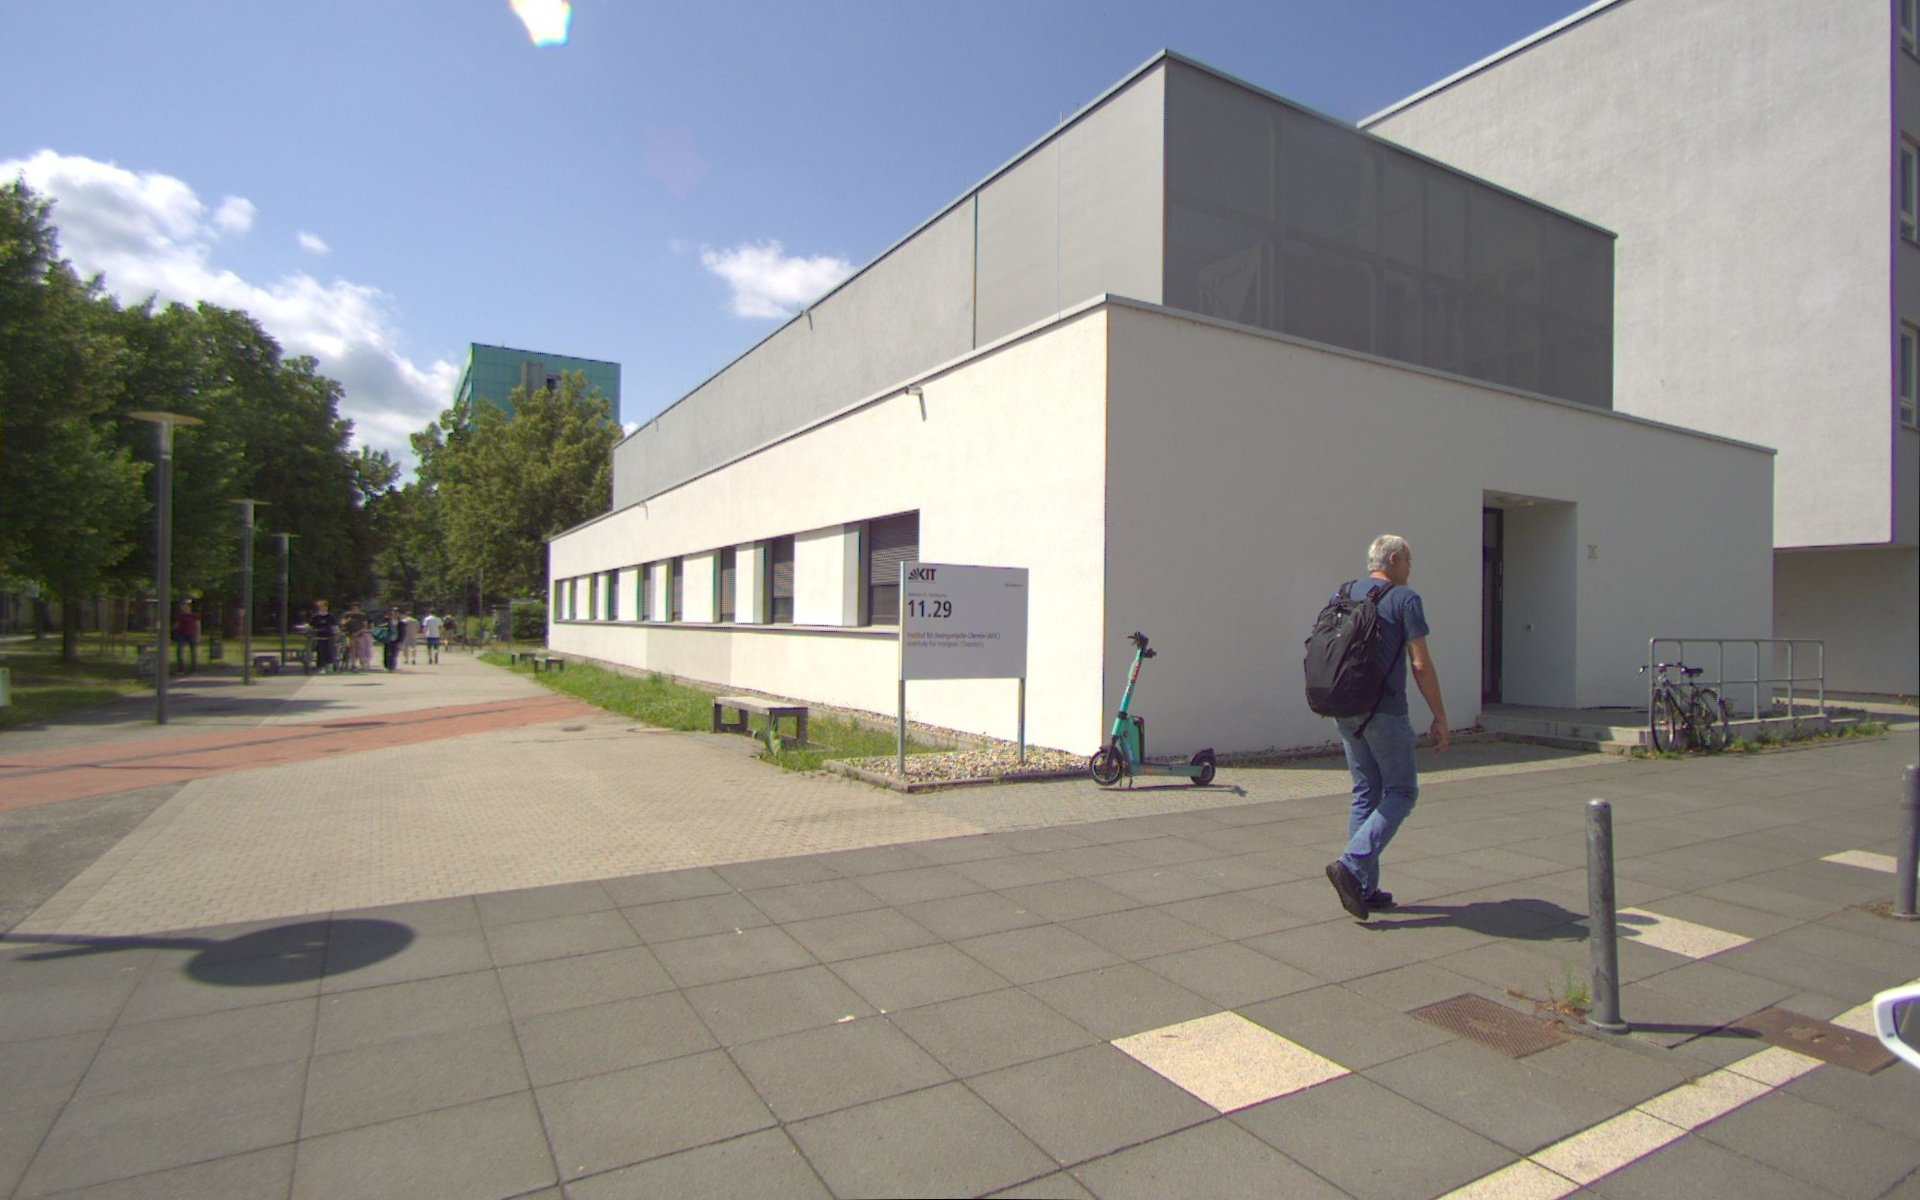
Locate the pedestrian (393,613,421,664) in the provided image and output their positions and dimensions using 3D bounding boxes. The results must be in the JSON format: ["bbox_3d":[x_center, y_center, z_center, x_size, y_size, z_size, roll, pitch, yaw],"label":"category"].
[{"bbox_3d":[-17.570,1.219,31.926,0.748,1.583,0.725,1,-1,-27],"label":"pedestrian"}]

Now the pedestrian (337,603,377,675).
[{"bbox_3d":[-16.069,1.033,26.788,0.674,1.863,0.759,1,-1,-14],"label":"pedestrian"}]

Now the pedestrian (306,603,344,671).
[{"bbox_3d":[-16.231,0.936,25.668,0.743,1.720,0.878,1,-1,-35],"label":"pedestrian"}]

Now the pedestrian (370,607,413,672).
[{"bbox_3d":[-15.006,1.032,26.527,0.787,1.676,0.730,1,-1,-14],"label":"pedestrian"}]

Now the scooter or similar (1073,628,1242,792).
[{"bbox_3d":[1.634,0.879,8.299,1.293,1.280,0.482,1,-1,-19],"label":"scooter or similar"}]

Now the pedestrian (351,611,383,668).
[{"bbox_3d":[-16.797,1.109,28.474,0.687,1.602,0.850,1,-1,-25],"label":"pedestrian"}]

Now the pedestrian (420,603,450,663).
[{"bbox_3d":[-16.881,1.059,32.304,0.815,1.909,0.758,1,-1,-28],"label":"pedestrian"}]

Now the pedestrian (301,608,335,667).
[{"bbox_3d":[-17.865,1.034,27.981,0.740,1.602,0.848,1,-1,-31],"label":"pedestrian"}]

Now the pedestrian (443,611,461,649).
[{"bbox_3d":[-23.339,1.372,46.128,0.716,1.716,0.554,1,-1,-28],"label":"pedestrian"}]

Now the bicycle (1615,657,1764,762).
[{"bbox_3d":[8.206,1.196,11.279,1.874,1.075,0.541,1,-1,-26],"label":"bicycle"}]

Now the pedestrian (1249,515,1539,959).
[{"bbox_3d":[2.093,0.582,4.837,1.133,1.841,0.817,1,-1,-36],"label":"pedestrian"}]

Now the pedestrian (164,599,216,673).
[{"bbox_3d":[-20.097,0.939,26.229,0.841,1.916,0.666,1,-1,-14],"label":"pedestrian"}]
